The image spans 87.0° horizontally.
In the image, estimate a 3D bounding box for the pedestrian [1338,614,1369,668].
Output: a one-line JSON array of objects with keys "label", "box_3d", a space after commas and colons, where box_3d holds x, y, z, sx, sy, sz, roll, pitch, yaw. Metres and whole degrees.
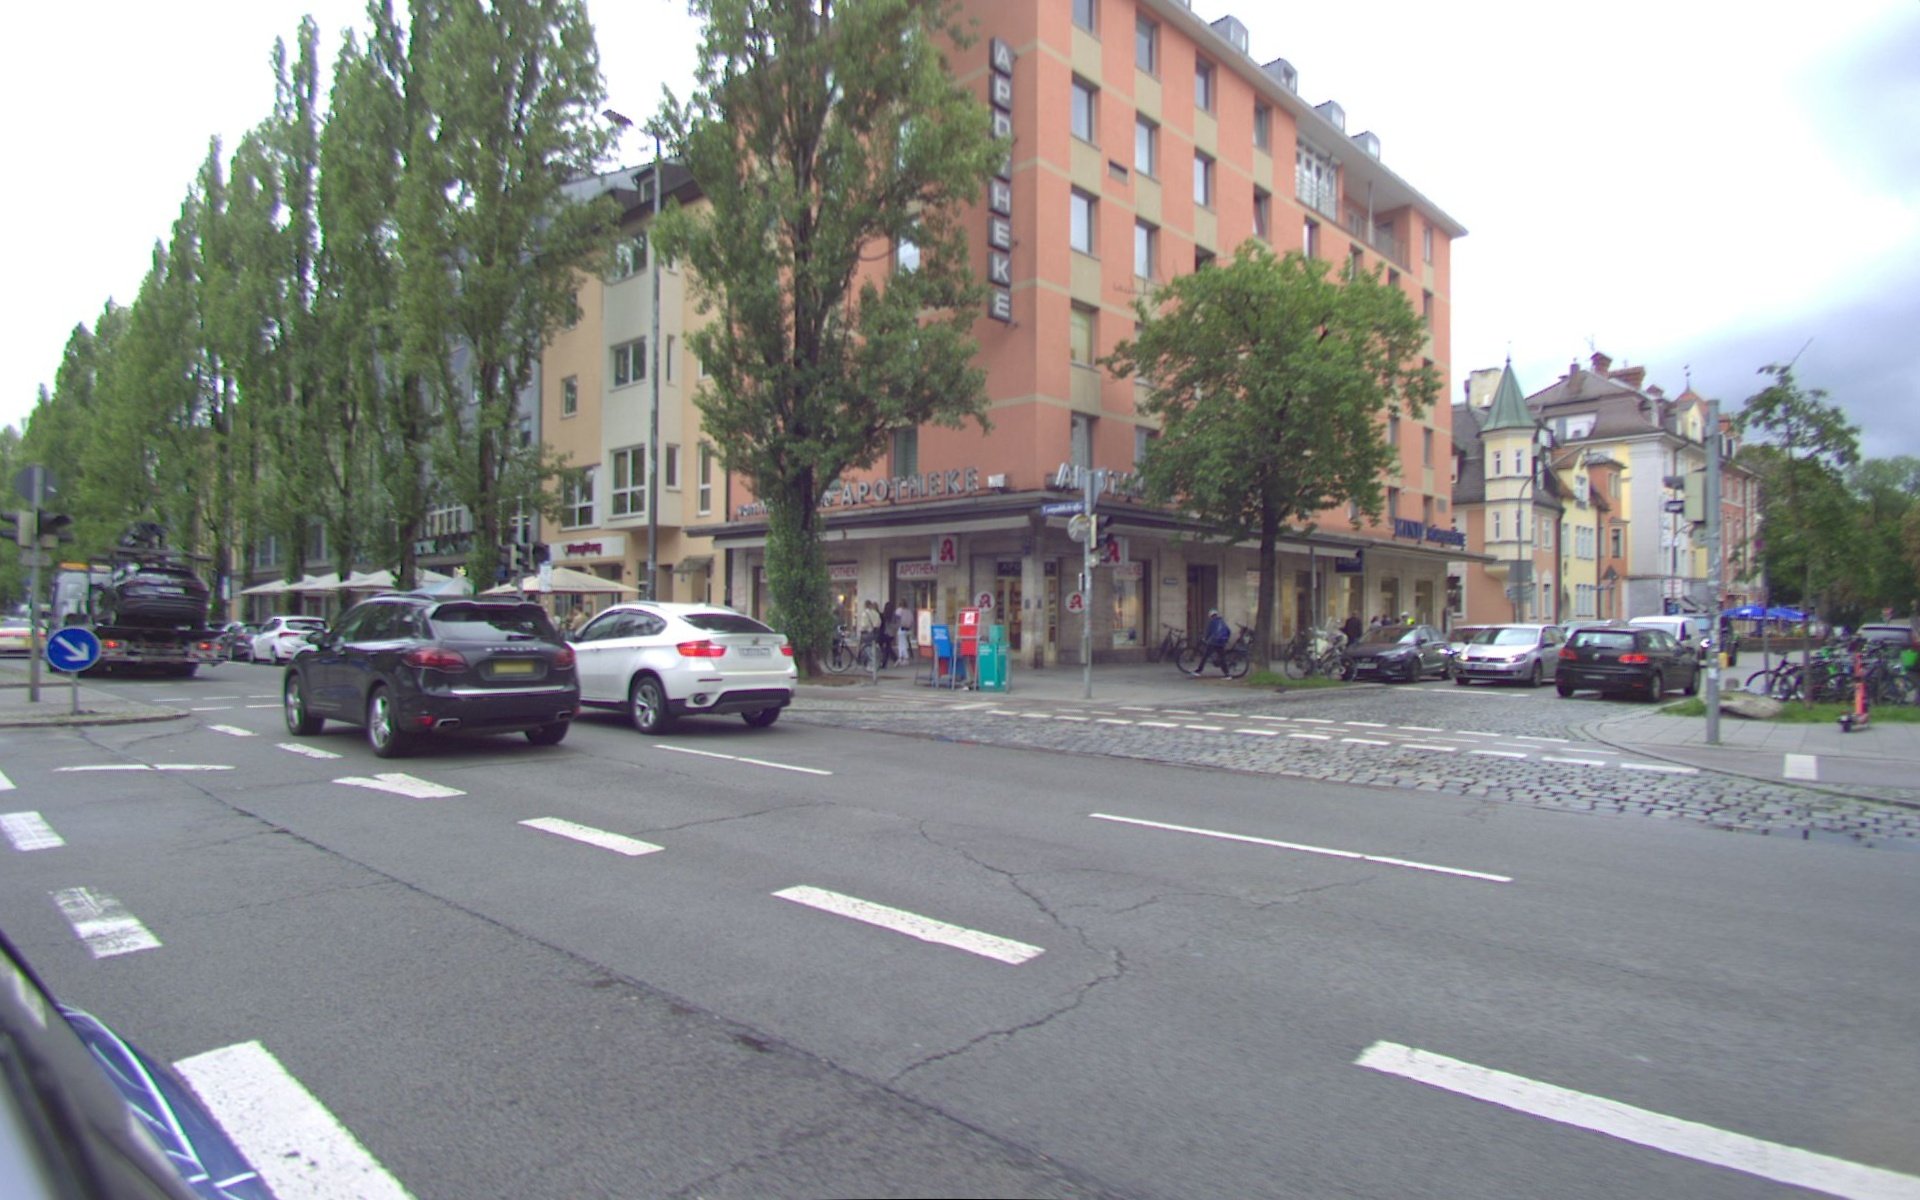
[{"label": "pedestrian", "box_3d": [13.187, 1.349, 33.892, 0.780, 1.780, 0.655, -1, 0, 40]}]

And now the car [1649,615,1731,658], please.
[{"label": "car", "box_3d": [26.610, 1.286, 36.834, 4.008, 1.431, 1.787, 1, -1, -45]}]

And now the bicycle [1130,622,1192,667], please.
[{"label": "bicycle", "box_3d": [5.521, 1.199, 27.750, 0.690, 1.193, 2.034, -1, -2, 43]}]

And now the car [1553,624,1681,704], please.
[{"label": "car", "box_3d": [13.697, 1.250, 21.014, 1.771, 1.486, 3.654, -1, -2, 40]}]

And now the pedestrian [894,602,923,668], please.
[{"label": "pedestrian", "box_3d": [-1.357, 0.913, 26.706, 0.514, 1.703, 0.580, -1, -2, 41]}]

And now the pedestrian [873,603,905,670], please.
[{"label": "pedestrian", "box_3d": [-1.825, 0.921, 26.163, 0.519, 1.701, 0.623, -1, 0, 42]}]

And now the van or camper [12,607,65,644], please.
[{"label": "van or camper", "box_3d": [-66.790, 1.896, 73.309, 6.641, 2.570, 2.103, -2, -2, 42]}]

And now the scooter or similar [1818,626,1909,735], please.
[{"label": "scooter or similar", "box_3d": [11.740, 1.019, 13.143, 1.341, 1.349, 0.439, 1, -2, -29]}]

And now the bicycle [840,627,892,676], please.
[{"label": "bicycle", "box_3d": [-2.254, 1.215, 24.136, 1.373, 1.150, 0.416, -1, -2, 42]}]

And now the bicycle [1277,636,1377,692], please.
[{"label": "bicycle", "box_3d": [8.196, 1.419, 22.657, 2.058, 1.193, 0.411, -1, -2, 35]}]

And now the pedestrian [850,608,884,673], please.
[{"label": "pedestrian", "box_3d": [-2.310, 0.999, 25.072, 0.548, 1.595, 0.649, -1, -2, 42]}]

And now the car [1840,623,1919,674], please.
[{"label": "car", "box_3d": [28.755, 1.493, 31.299, 3.940, 1.482, 2.001, 3, -4, -44]}]

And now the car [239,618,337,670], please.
[{"label": "car", "box_3d": [-22.455, 1.436, 33.757, 4.094, 1.595, 1.685, -1, -3, 41]}]

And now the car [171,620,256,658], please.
[{"label": "car", "box_3d": [-30.158, 1.548, 40.847, 4.429, 1.423, 1.686, -1, -3, 39]}]

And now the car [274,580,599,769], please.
[{"label": "car", "box_3d": [-6.144, 0.745, 11.639, 4.438, 1.759, 1.864, -1, -2, 42]}]

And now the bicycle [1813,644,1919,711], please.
[{"label": "bicycle", "box_3d": [17.107, 1.427, 18.712, 1.995, 1.193, 0.413, -1, -2, 22]}]

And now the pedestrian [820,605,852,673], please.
[{"label": "pedestrian", "box_3d": [-3.125, 0.976, 25.473, 0.626, 1.683, 0.501, -1, -1, 42]}]

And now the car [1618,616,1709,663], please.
[{"label": "car", "box_3d": [23.343, 1.255, 33.516, 4.008, 1.431, 1.787, 1, -1, -45]}]

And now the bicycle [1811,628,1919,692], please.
[{"label": "bicycle", "box_3d": [17.906, 1.146, 19.639, 0.409, 1.193, 2.069, 1, -2, -33]}]

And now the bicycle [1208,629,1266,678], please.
[{"label": "bicycle", "box_3d": [7.262, 1.379, 26.488, 2.031, 1.193, 0.417, -1, 0, -42]}]

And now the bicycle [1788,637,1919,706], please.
[{"label": "bicycle", "box_3d": [16.221, 1.264, 18.191, 2.028, 1.193, 0.411, -1, -2, 35]}]

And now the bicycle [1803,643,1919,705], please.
[{"label": "bicycle", "box_3d": [18.299, 1.475, 20.312, 2.052, 1.193, 0.447, -1, -2, 26]}]

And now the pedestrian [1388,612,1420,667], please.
[{"label": "pedestrian", "box_3d": [14.497, 1.290, 33.068, 0.780, 1.780, 0.655, -1, -2, 40]}]

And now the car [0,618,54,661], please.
[{"label": "car", "box_3d": [-35.373, 1.456, 37.656, 4.983, 1.513, 1.824, -1, -2, 41]}]

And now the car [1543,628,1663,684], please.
[{"label": "car", "box_3d": [18.013, 1.512, 28.300, 3.937, 1.431, 1.745, 1, -2, -40]}]

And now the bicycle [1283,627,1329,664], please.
[{"label": "bicycle", "box_3d": [11.630, 1.521, 33.958, 0.690, 1.193, 2.034, -1, -2, 43]}]

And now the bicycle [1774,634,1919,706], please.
[{"label": "bicycle", "box_3d": [15.357, 1.186, 17.568, 1.849, 1.193, 0.411, -1, -2, 35]}]

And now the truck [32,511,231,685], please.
[{"label": "truck", "box_3d": [-20.824, 0.025, 25.224, 8.435, 3.698, 2.437, -1, -2, 41]}]

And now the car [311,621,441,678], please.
[{"label": "car", "box_3d": [-16.592, 1.365, 28.658, 4.586, 1.449, 1.686, -1, -3, 40]}]

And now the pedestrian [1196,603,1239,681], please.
[{"label": "pedestrian", "box_3d": [6.021, 0.962, 23.625, 0.692, 1.780, 0.770, -1, -2, 41]}]

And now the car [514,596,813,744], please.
[{"label": "car", "box_3d": [-4.258, 0.881, 14.110, 4.634, 1.729, 1.818, -1, -2, 42]}]

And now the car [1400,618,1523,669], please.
[{"label": "car", "box_3d": [14.959, 1.256, 30.135, 3.886, 1.431, 1.894, 1, -2, -40]}]

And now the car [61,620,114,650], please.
[{"label": "car", "box_3d": [-51.317, 2.046, 59.500, 3.767, 1.699, 1.601, 0, -4, 39]}]

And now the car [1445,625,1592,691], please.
[{"label": "car", "box_3d": [13.378, 1.311, 24.167, 3.937, 1.431, 1.784, 1, -2, -40]}]

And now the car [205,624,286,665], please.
[{"label": "car", "box_3d": [-26.382, 1.619, 37.311, 4.184, 1.392, 1.478, -1, -3, 41]}]

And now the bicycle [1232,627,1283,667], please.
[{"label": "bicycle", "box_3d": [9.296, 1.459, 31.561, 0.690, 1.193, 2.034, -1, -2, 43]}]

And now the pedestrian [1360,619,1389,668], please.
[{"label": "pedestrian", "box_3d": [14.227, 1.484, 34.737, 0.729, 1.654, 0.729, -1, 0, 41]}]

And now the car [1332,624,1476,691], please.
[{"label": "car", "box_3d": [11.257, 1.387, 25.553, 3.937, 1.431, 1.784, -1, 0, -41]}]

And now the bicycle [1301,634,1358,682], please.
[{"label": "bicycle", "box_3d": [9.962, 1.539, 27.227, 2.031, 1.193, 0.538, -1, 0, -42]}]

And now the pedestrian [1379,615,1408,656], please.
[{"label": "pedestrian", "box_3d": [15.404, 1.249, 35.932, 0.780, 1.401, 0.655, -1, 0, 40]}]
